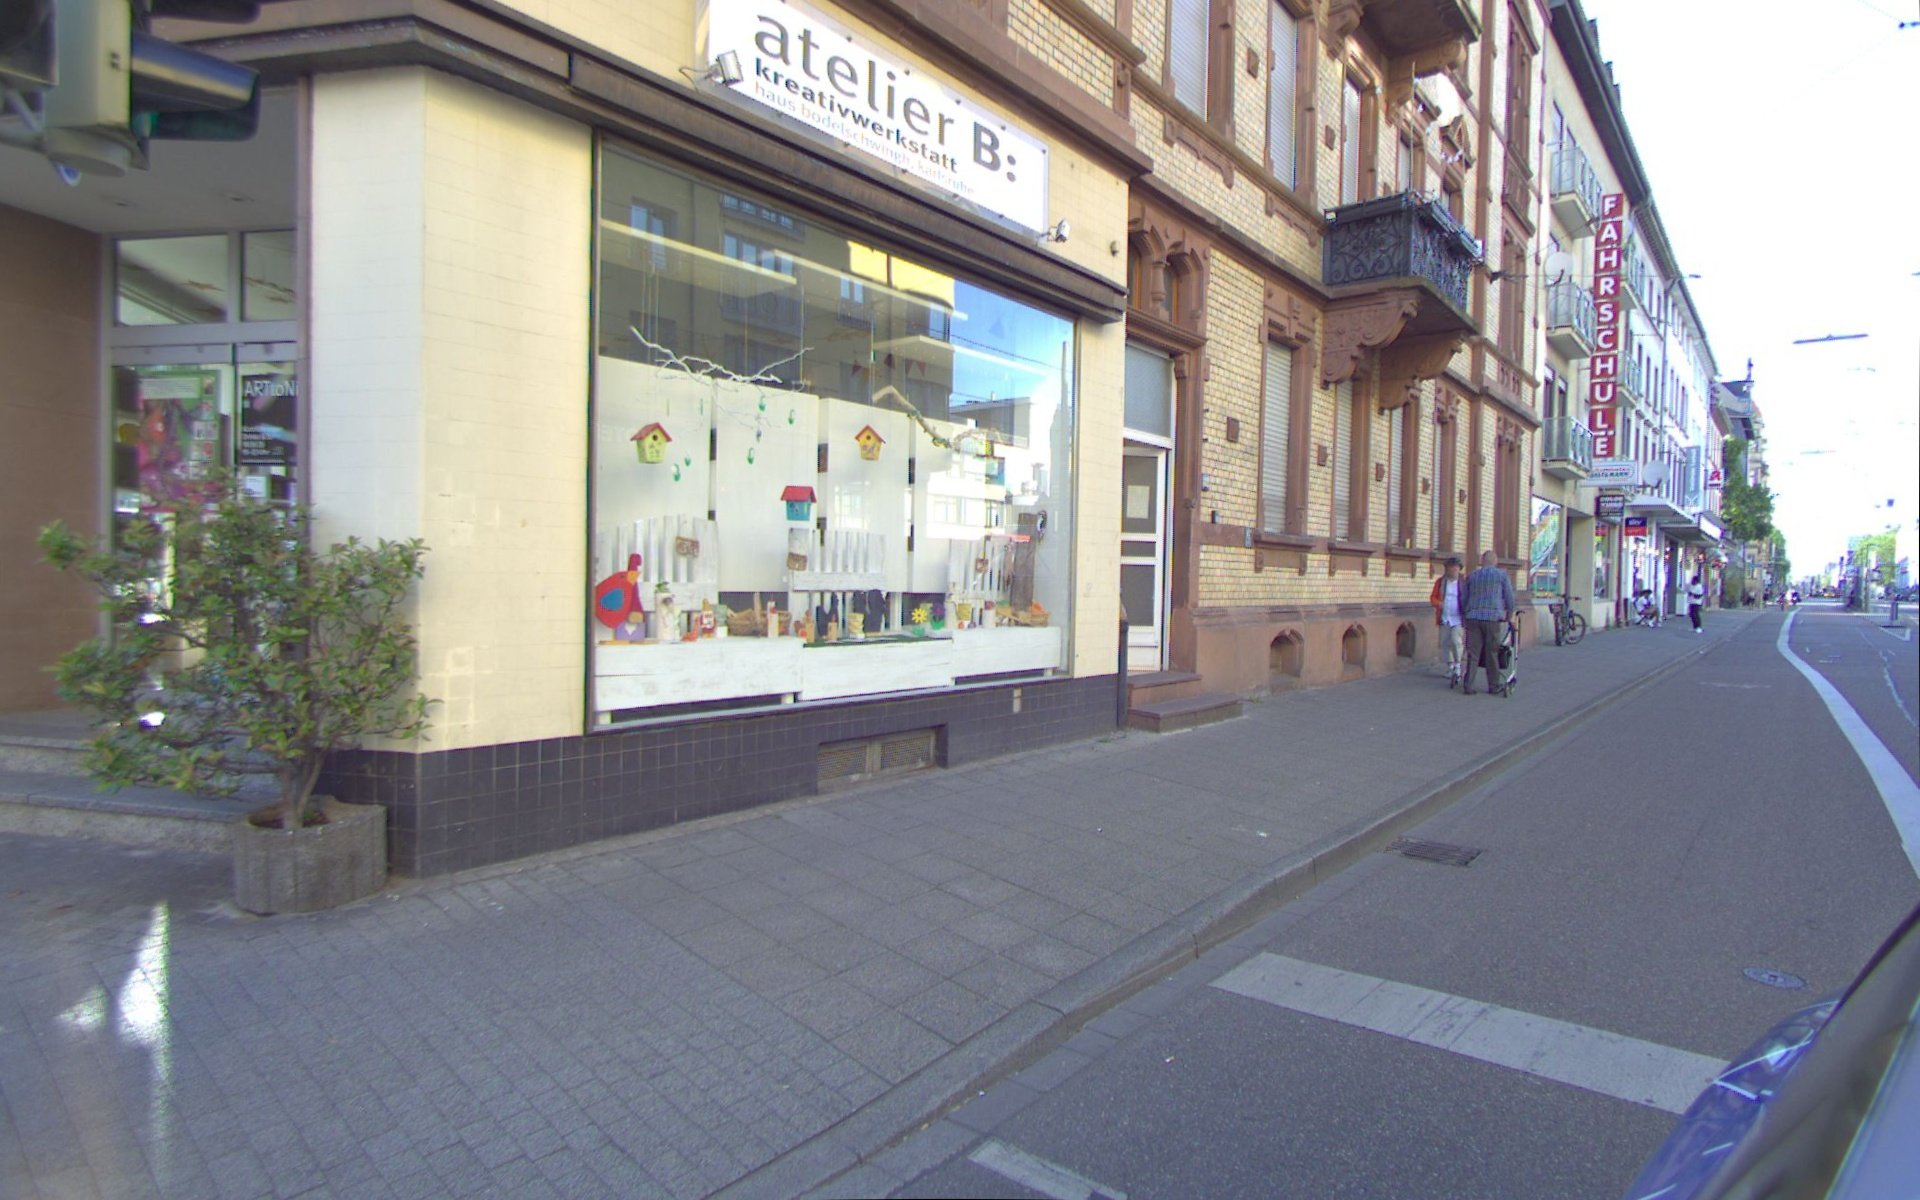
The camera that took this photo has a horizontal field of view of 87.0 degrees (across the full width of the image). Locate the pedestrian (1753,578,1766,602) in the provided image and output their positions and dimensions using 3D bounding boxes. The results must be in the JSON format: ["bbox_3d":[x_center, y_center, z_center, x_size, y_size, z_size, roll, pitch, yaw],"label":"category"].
[{"bbox_3d":[61.615,-0.762,77.978,0.685,1.793,0.649,0,2,-44],"label":"pedestrian"}]

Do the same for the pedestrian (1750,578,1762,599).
[{"bbox_3d":[61.419,-0.872,78.088,0.647,1.598,0.674,2,1,34],"label":"pedestrian"}]

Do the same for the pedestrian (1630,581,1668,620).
[{"bbox_3d":[23.185,-0.004,34.064,0.699,1.188,1.009,7,5,21],"label":"pedestrian"}]

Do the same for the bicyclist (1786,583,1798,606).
[{"bbox_3d":[61.194,-0.420,74.444,0.674,1.634,0.826,1,1,39],"label":"bicyclist"}]

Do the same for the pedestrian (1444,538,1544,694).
[{"bbox_3d":[6.650,0.176,12.602,0.805,1.821,0.750,7,4,41],"label":"pedestrian"}]

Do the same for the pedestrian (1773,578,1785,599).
[{"bbox_3d":[72.994,-1.021,90.180,0.805,1.822,0.750,2,2,41],"label":"pedestrian"}]

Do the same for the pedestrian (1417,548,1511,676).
[{"bbox_3d":[6.965,0.155,13.988,0.798,1.646,0.813,9,5,42],"label":"pedestrian"}]

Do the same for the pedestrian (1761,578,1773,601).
[{"bbox_3d":[61.998,-0.788,77.741,0.647,1.737,0.796,2,1,34],"label":"pedestrian"}]

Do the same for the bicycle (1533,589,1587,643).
[{"bbox_3d":[13.026,0.314,21.936,0.555,1.073,2.277,5,4,41],"label":"bicycle"}]

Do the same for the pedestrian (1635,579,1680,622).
[{"bbox_3d":[22.825,-0.006,33.141,0.816,1.270,0.706,6,4,6],"label":"pedestrian"}]

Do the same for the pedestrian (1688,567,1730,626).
[{"bbox_3d":[24.528,-0.129,33.161,0.666,1.833,0.708,3,5,-34],"label":"pedestrian"}]

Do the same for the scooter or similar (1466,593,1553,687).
[{"bbox_3d":[7.102,0.499,13.082,0.805,1.082,0.514,8,5,41],"label":"scooter or similar"}]
